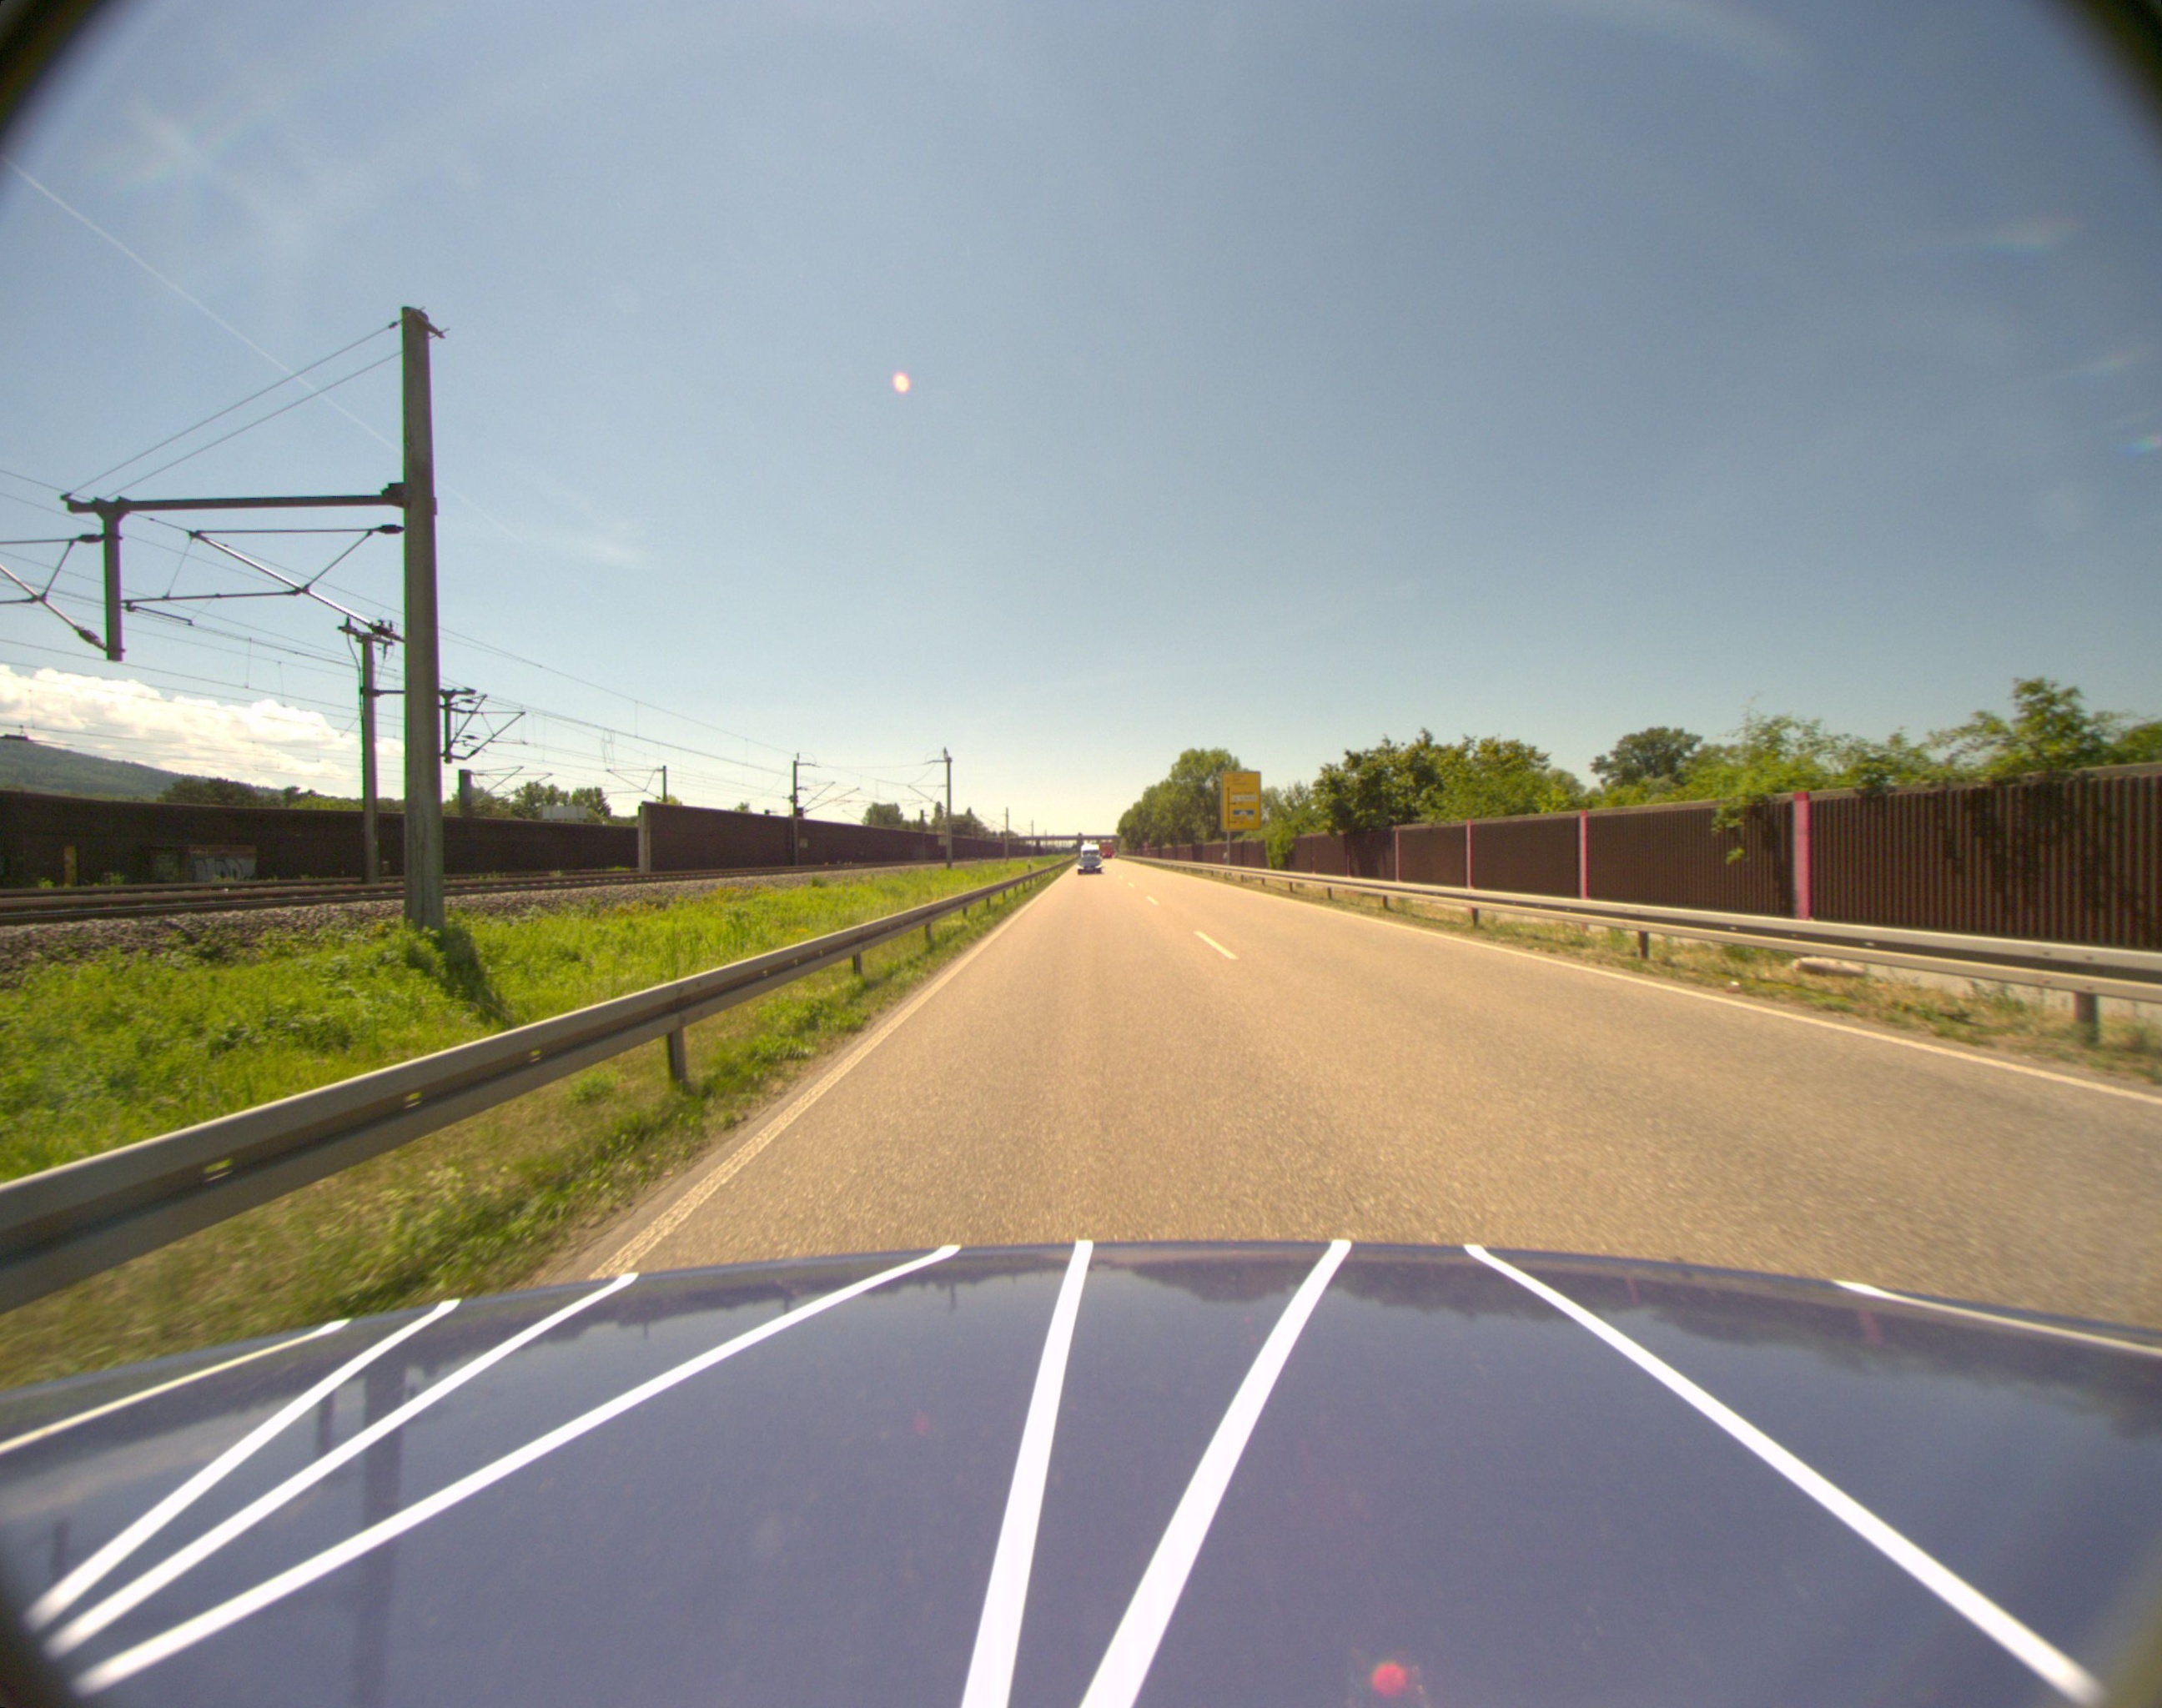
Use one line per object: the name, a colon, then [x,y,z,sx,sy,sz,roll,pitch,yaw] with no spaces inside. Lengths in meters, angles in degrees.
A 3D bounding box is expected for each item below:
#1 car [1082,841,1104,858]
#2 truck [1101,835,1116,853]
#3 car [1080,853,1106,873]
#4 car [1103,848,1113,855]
car: [1.261,-0.492,80.737,2.161,1.702,4.492,-3,1,1]
truck: [6.378,-2.219,177.631,3.132,3.942,9.717,-3,1,1]
car: [0.870,0.647,56.456,1.758,1.313,4.000,-3,0,1]
car: [5.873,-0.502,166.142,1.994,1.486,4.492,-3,0,1]
